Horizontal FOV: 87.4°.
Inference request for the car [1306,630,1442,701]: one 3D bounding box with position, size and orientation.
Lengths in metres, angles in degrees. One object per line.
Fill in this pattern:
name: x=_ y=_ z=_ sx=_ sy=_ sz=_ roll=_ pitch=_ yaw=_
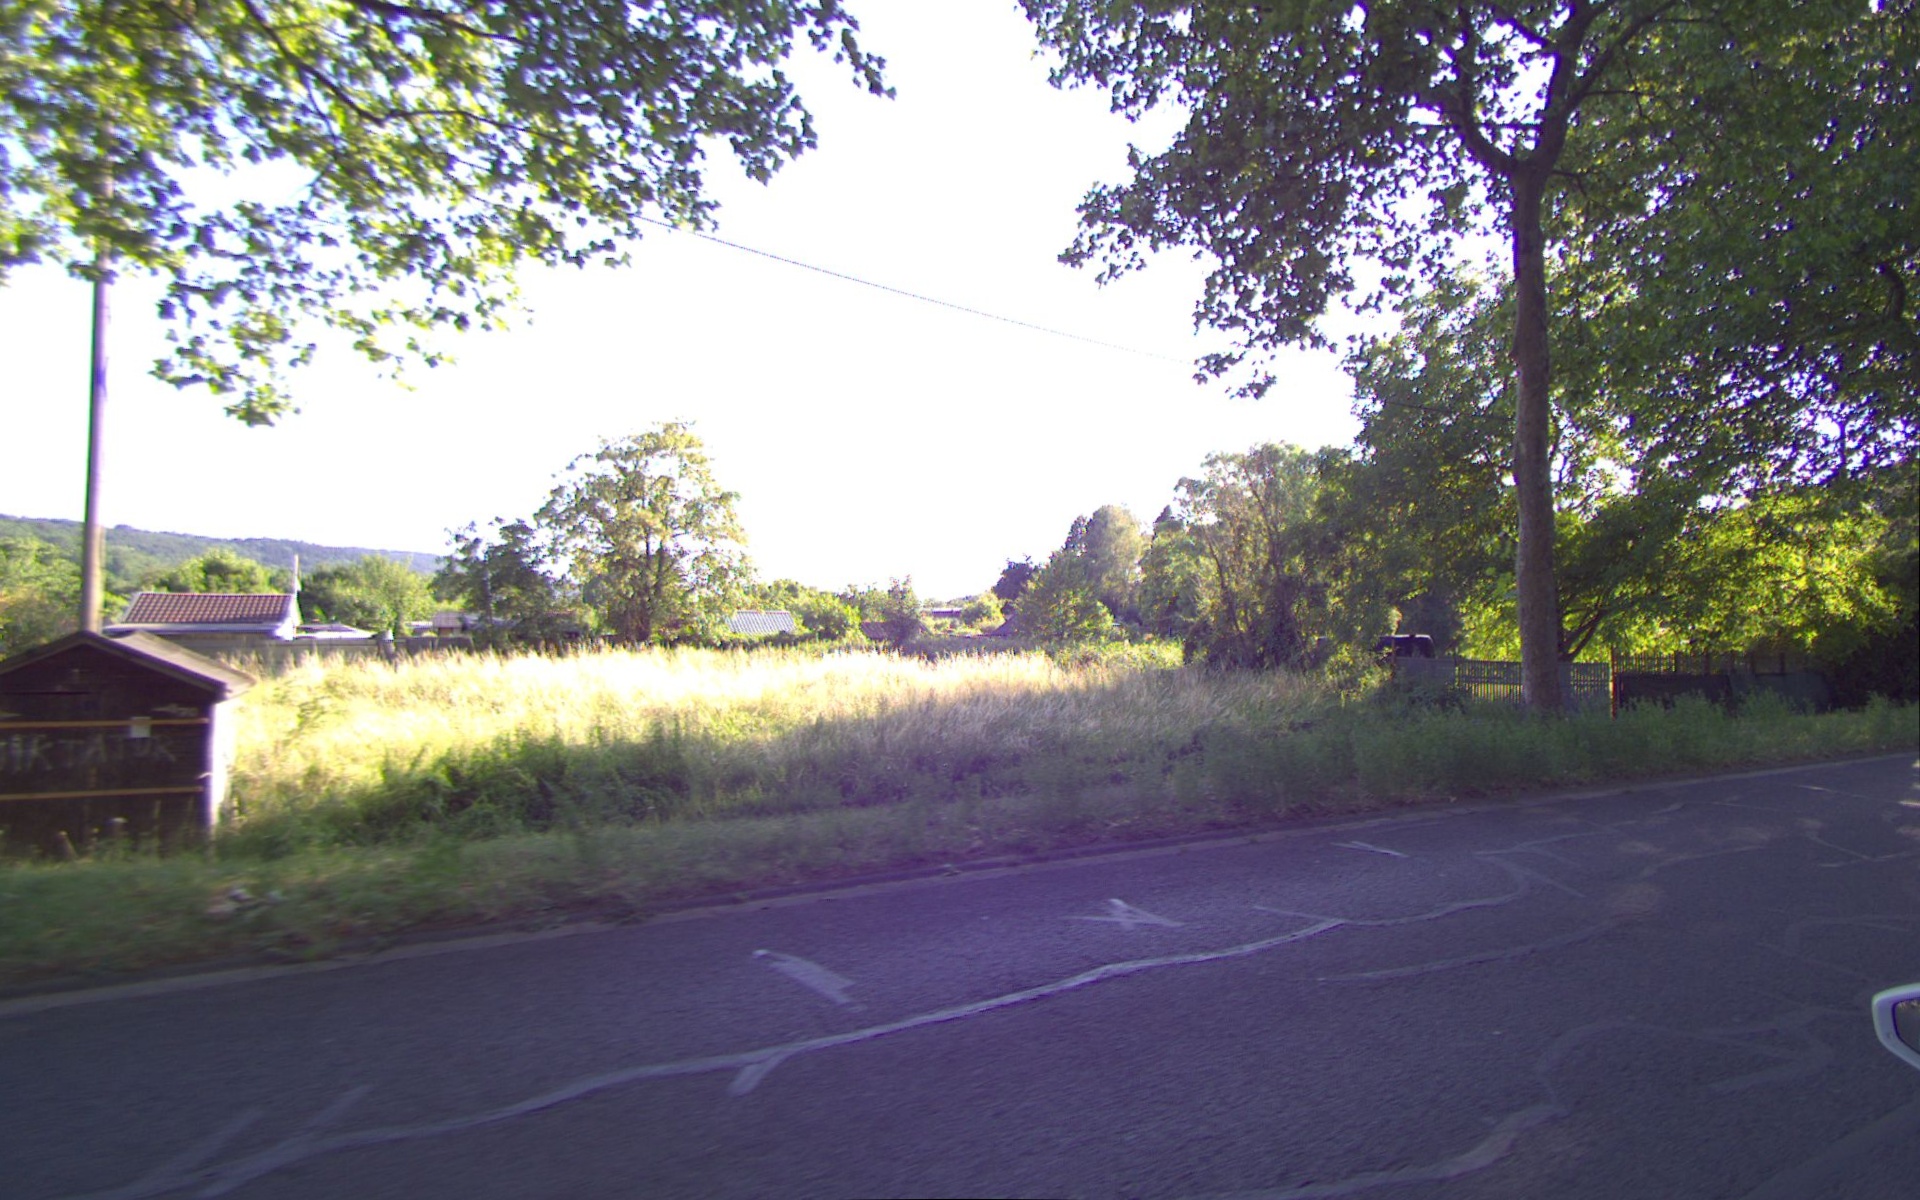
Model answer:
car: x=13.522 y=2.109 z=33.067 sx=1.969 sy=2.040 sz=3.983 roll=2 pitch=0 yaw=-19
